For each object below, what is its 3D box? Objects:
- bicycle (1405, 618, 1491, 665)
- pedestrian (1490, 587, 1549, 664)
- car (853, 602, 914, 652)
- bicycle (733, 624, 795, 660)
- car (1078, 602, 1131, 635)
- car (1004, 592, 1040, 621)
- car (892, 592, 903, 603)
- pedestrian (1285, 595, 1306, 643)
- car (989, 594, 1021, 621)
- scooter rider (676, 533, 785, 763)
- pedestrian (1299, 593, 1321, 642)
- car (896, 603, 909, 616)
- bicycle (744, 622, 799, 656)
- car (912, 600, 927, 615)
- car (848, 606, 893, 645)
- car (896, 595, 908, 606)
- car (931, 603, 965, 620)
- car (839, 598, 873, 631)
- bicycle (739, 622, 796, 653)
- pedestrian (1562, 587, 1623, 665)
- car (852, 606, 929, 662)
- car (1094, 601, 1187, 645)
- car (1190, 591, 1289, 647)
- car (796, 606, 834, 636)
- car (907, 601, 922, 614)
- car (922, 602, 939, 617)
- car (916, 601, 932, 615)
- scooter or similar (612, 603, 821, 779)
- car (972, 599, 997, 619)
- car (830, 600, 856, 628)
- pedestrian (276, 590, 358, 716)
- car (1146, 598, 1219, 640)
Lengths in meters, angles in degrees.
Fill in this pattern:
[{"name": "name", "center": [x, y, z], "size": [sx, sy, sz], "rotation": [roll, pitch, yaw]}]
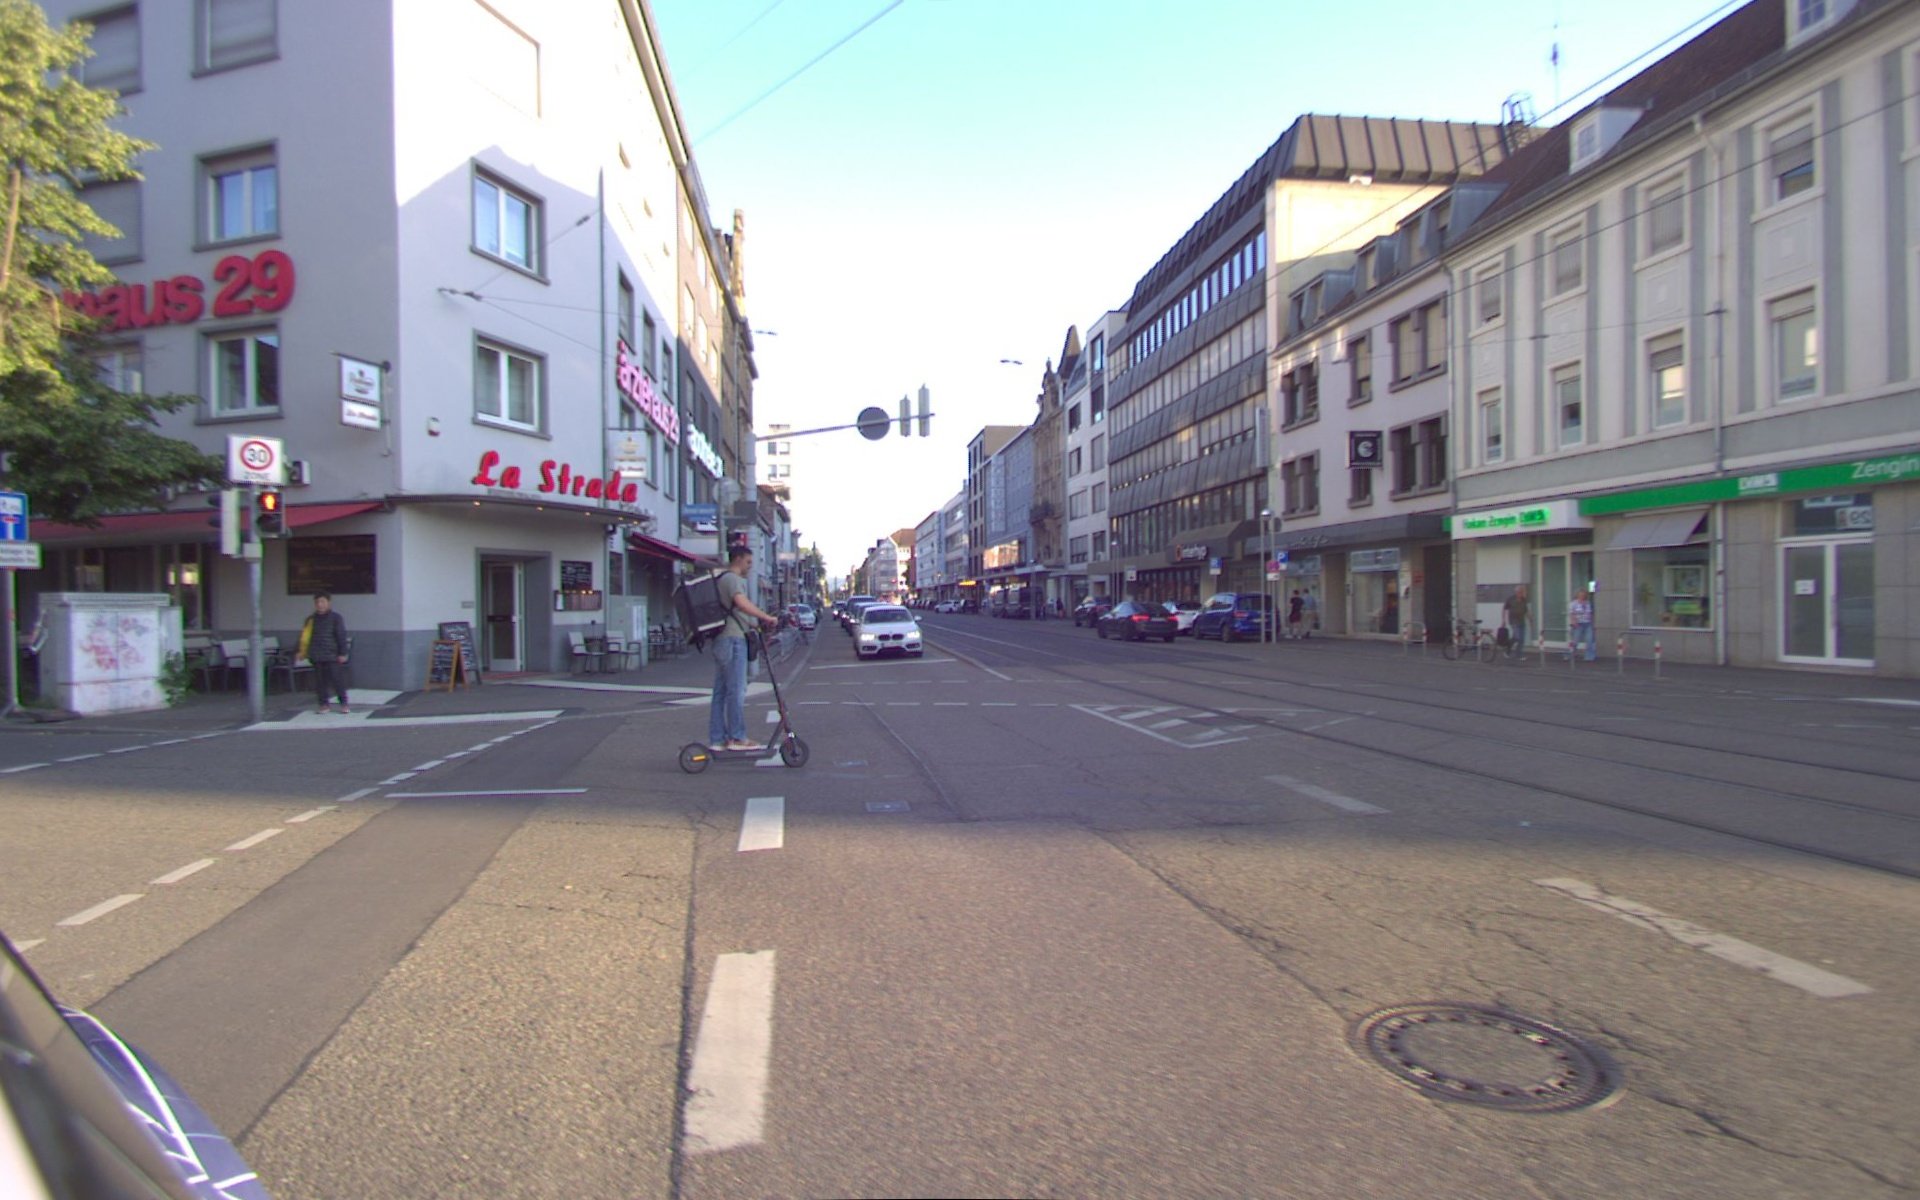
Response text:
[{"name": "bicycle", "center": [11.448, 0.967, 23.763], "size": [1.719, 1.067, 0.498], "rotation": [-1, 0, 2]}, {"name": "pedestrian", "center": [13.077, 0.579, 23.670], "size": [0.815, 1.741, 0.815], "rotation": [-2, -1, -7]}, {"name": "car", "center": [-2.643, 0.889, 35.062], "size": [1.970, 1.490, 4.004], "rotation": [-1, 1, -4]}, {"name": "bicycle", "center": [-5.924, 1.275, 30.592], "size": [1.799, 1.039, 0.445], "rotation": [0, -1, -12]}, {"name": "car", "center": [7.668, 0.939, 53.963], "size": [1.792, 1.568, 4.006], "rotation": [-1, 1, -7]}, {"name": "car", "center": [4.646, 0.467, 76.282], "size": [1.969, 2.029, 4.006], "rotation": [-1, 1, -7]}, {"name": "car", "center": [-12.538, -0.464, 202.853], "size": [1.968, 2.029, 4.008], "rotation": [-1, 1, -9]}, {"name": "pedestrian", "center": [11.980, 0.662, 36.150], "size": [0.502, 1.697, 0.585], "rotation": [-1, 1, -8]}, {"name": "car", "center": [3.648, 0.582, 82.962], "size": [1.969, 2.074, 4.006], "rotation": [-1, 1, -6]}, {"name": "scooter rider", "center": [-1.949, 0.379, 8.522], "size": [0.774, 1.821, 0.816], "rotation": [-1, 0, -20]}, {"name": "pedestrian", "center": [12.549, 0.626, 36.310], "size": [0.508, 1.747, 0.602], "rotation": [-1, 1, -7]}, {"name": "car", "center": [-10.271, 1.674, 180.276], "size": [1.969, 2.029, 4.007], "rotation": [-1, 1, -7]}, {"name": "bicycle", "center": [-6.205, 1.274, 33.283], "size": [1.733, 1.079, 0.445], "rotation": [1, 1, -12]}, {"name": "car", "center": [-6.243, 1.093, 157.367], "size": [1.946, 2.209, 4.141], "rotation": [-1, 1, -7]}, {"name": "car", "center": [-4.136, 1.150, 46.325], "size": [1.969, 1.652, 4.005], "rotation": [-1, -1, -6]}, {"name": "car", "center": [-11.356, 0.033, 198.130], "size": [1.968, 2.029, 4.008], "rotation": [-1, 1, -9]}, {"name": "car", "center": [-1.330, 1.298, 112.498], "size": [1.778, 1.761, 3.845], "rotation": [-1, 2, -38]}, {"name": "car", "center": [-6.211, 0.845, 60.279], "size": [1.875, 1.801, 3.946], "rotation": [-1, 1, -7]}, {"name": "bicycle", "center": [-6.084, 1.176, 31.950], "size": [1.733, 0.956, 0.445], "rotation": [1, 1, -12]}, {"name": "pedestrian", "center": [13.737, 0.566, 22.001], "size": [0.818, 1.653, 0.811], "rotation": [-2, -1, 9]}, {"name": "car", "center": [-1.988, 0.916, 28.106], "size": [1.886, 1.369, 3.751], "rotation": [-2, -1, -7]}, {"name": "car", "center": [6.464, 0.822, 36.856], "size": [1.866, 1.491, 4.552], "rotation": [-1, -1, -10]}, {"name": "car", "center": [9.954, 0.639, 36.381], "size": [1.886, 1.809, 4.136], "rotation": [-2, 0, -8]}, {"name": "car", "center": [-8.139, 1.153, 56.825], "size": [2.011, 1.571, 4.394], "rotation": [-1, -1, -8]}, {"name": "car", "center": [-7.342, 1.217, 164.279], "size": [1.930, 2.029, 4.008], "rotation": [-1, 1, -9]}, {"name": "car", "center": [-4.154, 1.352, 142.446], "size": [1.968, 2.029, 4.008], "rotation": [-1, 1, -9]}, {"name": "car", "center": [-5.387, 1.179, 151.130], "size": [1.943, 2.029, 4.008], "rotation": [-1, 1, -9]}, {"name": "scooter or similar", "center": [-2.044, 0.720, 8.501], "size": [1.640, 1.361, 0.548], "rotation": [-1, 0, -19]}, {"name": "car", "center": [2.421, 0.881, 100.911], "size": [1.806, 1.931, 4.007], "rotation": [-1, 1, -8]}, {"name": "car", "center": [-9.364, 1.102, 80.855], "size": [1.968, 2.029, 4.008], "rotation": [-1, 1, -8]}, {"name": "pedestrian", "center": [-8.749, 0.701, 13.794], "size": [0.787, 1.668, 0.588], "rotation": [0, -1, -10]}, {"name": "car", "center": [9.240, 0.782, 42.310], "size": [1.675, 1.635, 4.007], "rotation": [-1, -1, -8]}]
